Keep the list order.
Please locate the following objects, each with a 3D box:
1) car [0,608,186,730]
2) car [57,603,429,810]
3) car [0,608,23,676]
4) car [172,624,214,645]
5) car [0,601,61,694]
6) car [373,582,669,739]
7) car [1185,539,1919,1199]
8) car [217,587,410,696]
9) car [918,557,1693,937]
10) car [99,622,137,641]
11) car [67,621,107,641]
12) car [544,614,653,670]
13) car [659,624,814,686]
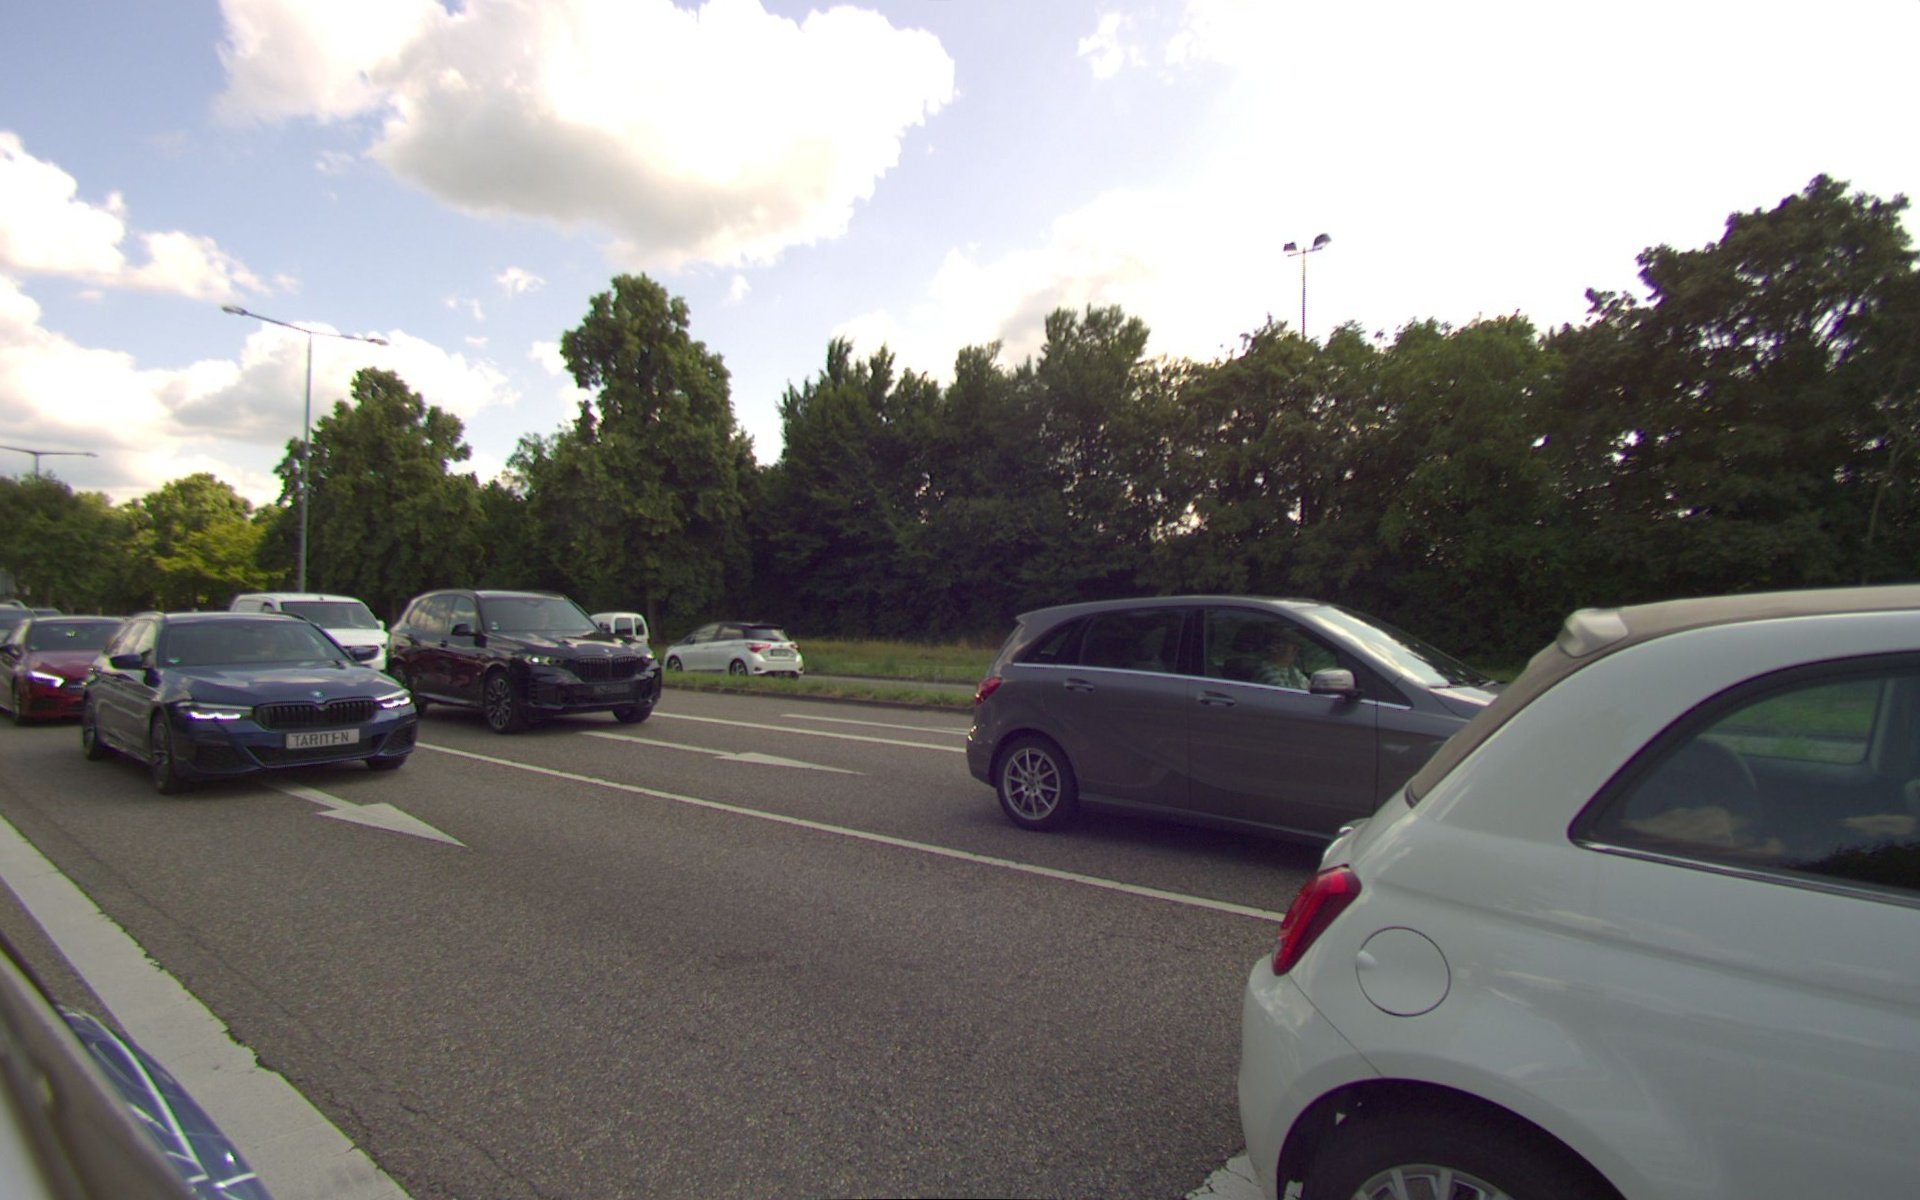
[{"bbox_3d":[-12.745,0.872,14.520,4.532,1.473,1.705,-1,0,40],"label":"car"},{"bbox_3d":[-7.035,0.794,9.699,4.869,1.508,1.778,0,0,40],"label":"car"},{"bbox_3d":[-23.537,0.964,23.844,3.891,1.542,1.705,0,0,40],"label":"car"},{"bbox_3d":[-52.378,2.325,69.092,3.654,1.381,1.447,-1,-3,39],"label":"car"},{"bbox_3d":[-18.327,0.828,18.932,4.173,1.624,1.705,0,-1,40],"label":"car"},{"bbox_3d":[-5.960,0.693,13.478,4.546,1.759,1.794,0,-1,40],"label":"car"},{"bbox_3d":[2.278,0.671,1.402,3.538,1.508,1.554,0,0,40],"label":"car"},{"bbox_3d":[-12.217,0.709,19.005,4.727,1.812,1.747,0,-1,40],"label":"car"},{"bbox_3d":[1.895,0.673,6.430,4.357,1.631,1.681,-1,-2,40],"label":"car"},{"bbox_3d":[-69.549,2.581,83.614,4.235,1.397,1.650,0,-3,40],"label":"car"},{"bbox_3d":[-66.473,2.340,77.045,4.235,1.435,1.650,-1,-3,40],"label":"car"},{"bbox_3d":[-12.630,1.415,35.260,4.251,1.807,1.654,0,-1,40],"label":"car"},{"bbox_3d":[-5.399,1.293,24.284,3.692,1.318,1.734,0,-3,41],"label":"car"}]
